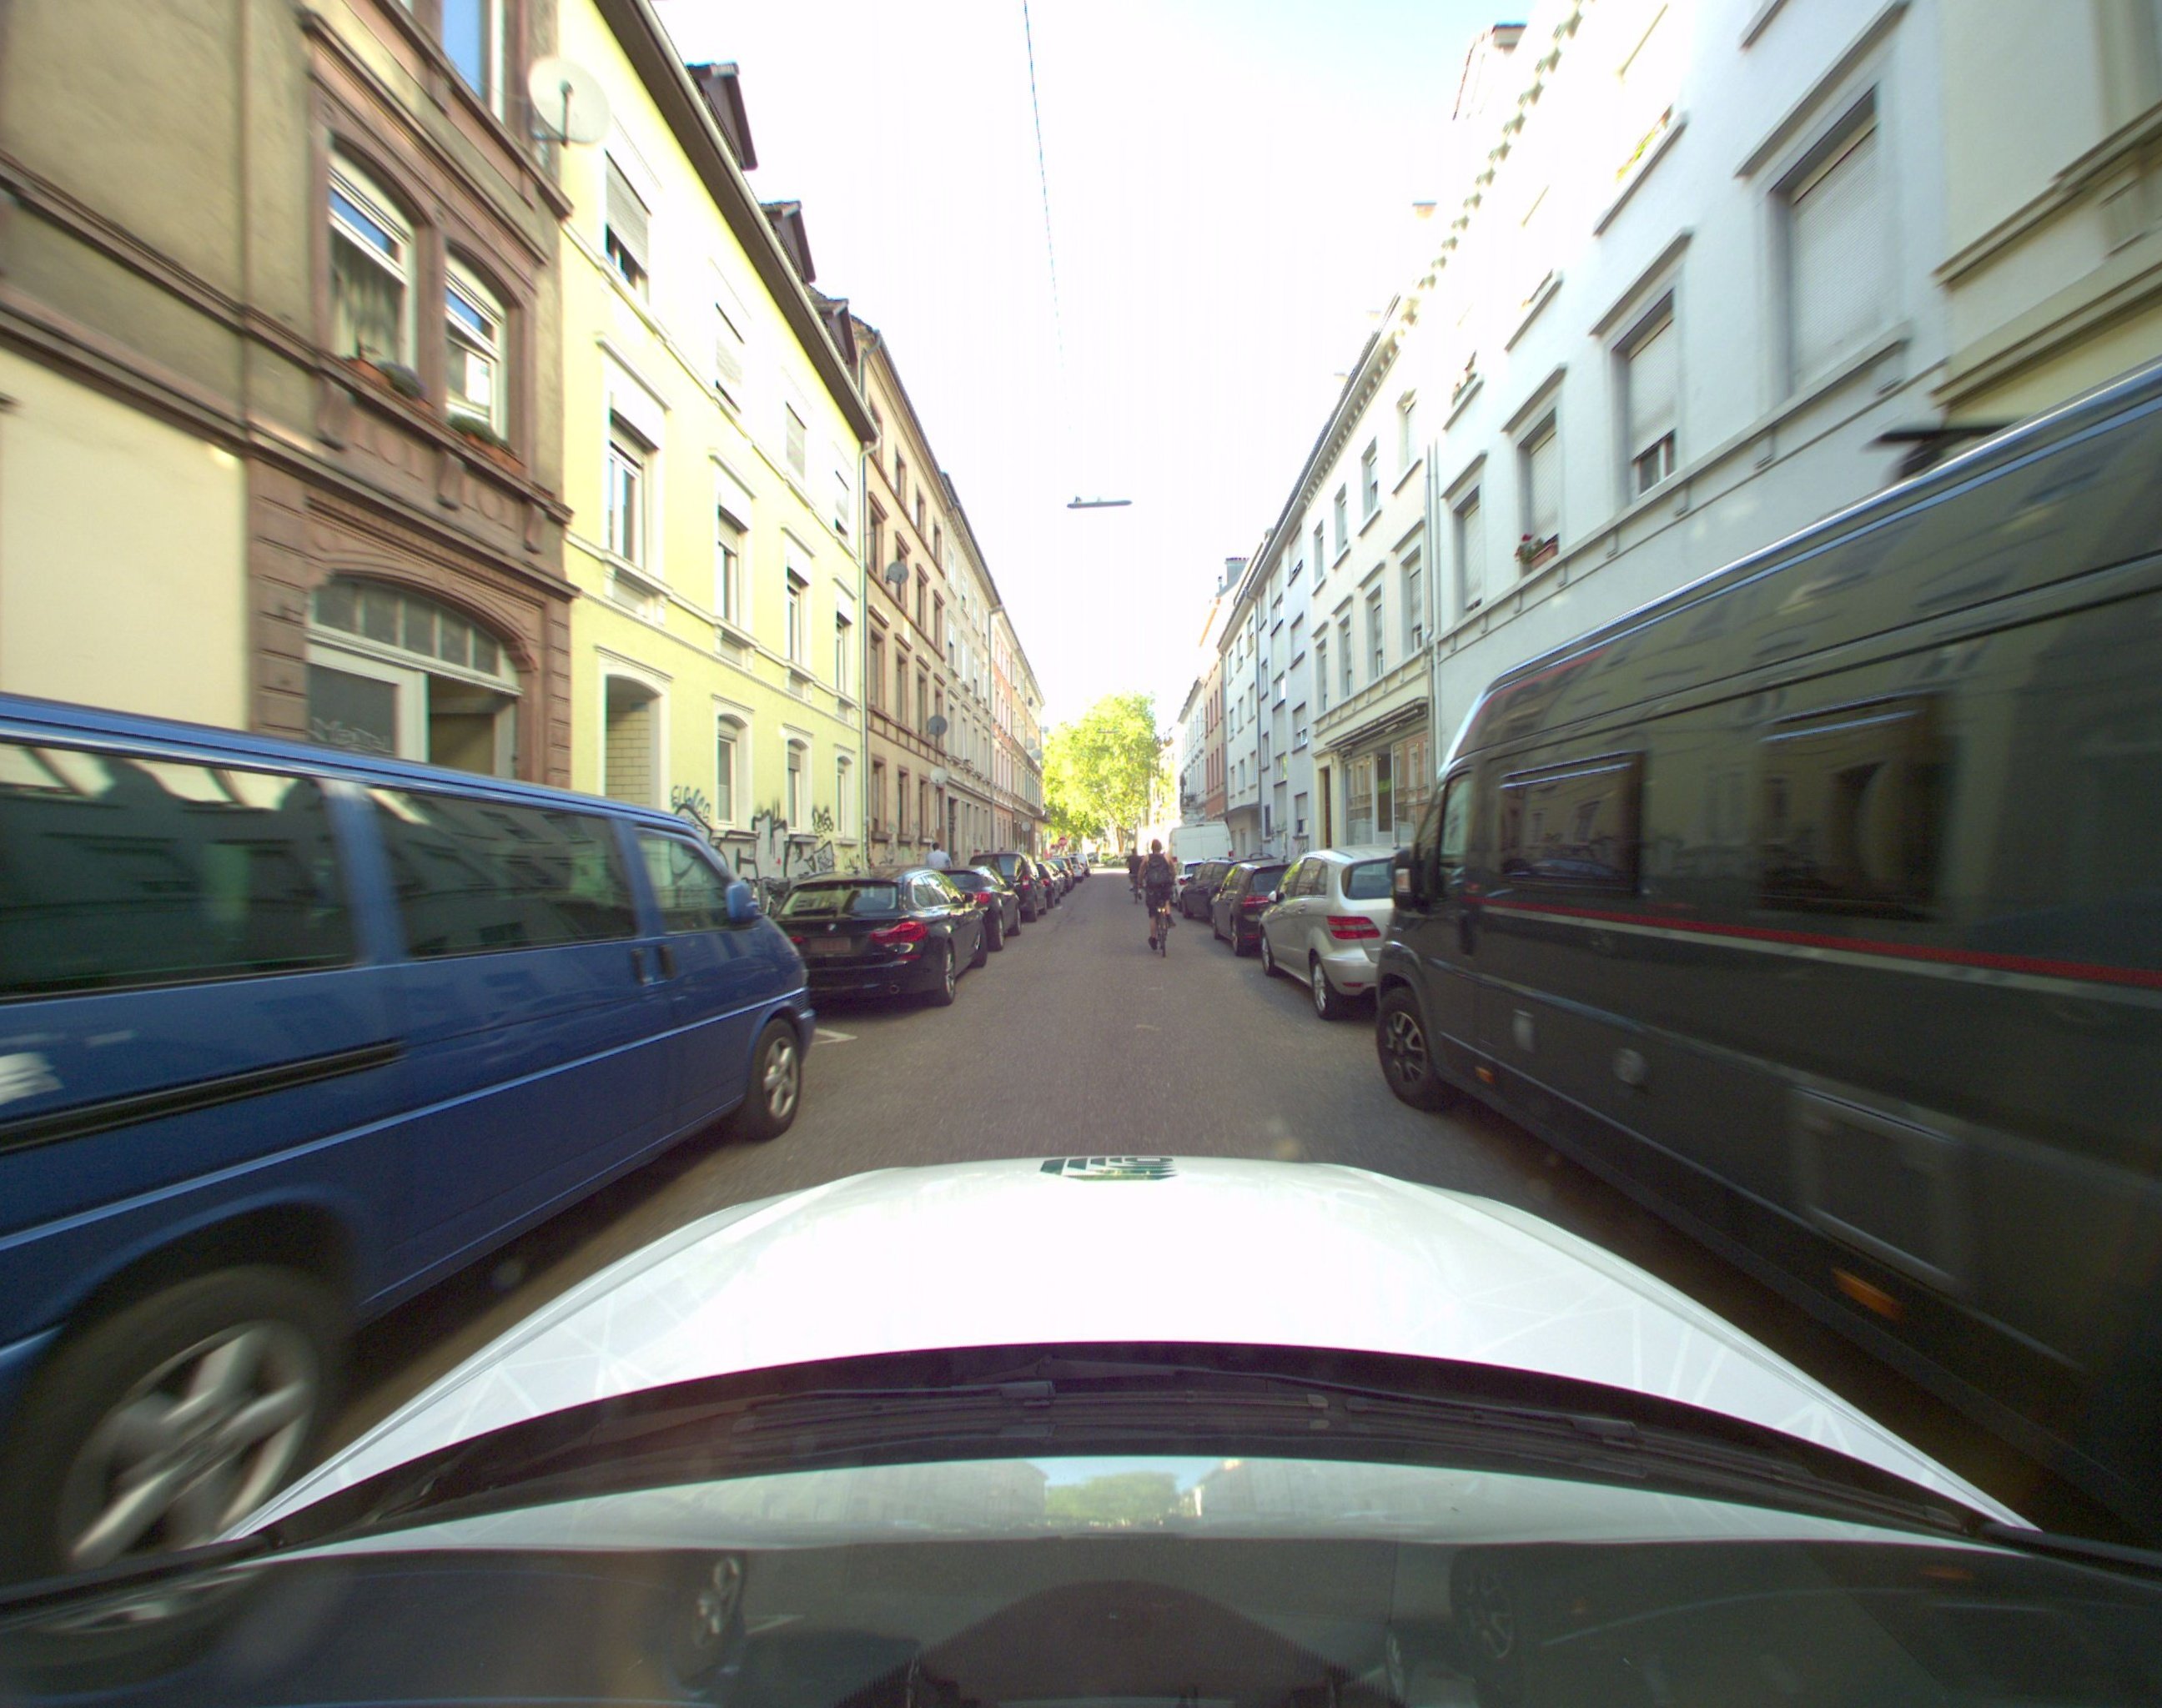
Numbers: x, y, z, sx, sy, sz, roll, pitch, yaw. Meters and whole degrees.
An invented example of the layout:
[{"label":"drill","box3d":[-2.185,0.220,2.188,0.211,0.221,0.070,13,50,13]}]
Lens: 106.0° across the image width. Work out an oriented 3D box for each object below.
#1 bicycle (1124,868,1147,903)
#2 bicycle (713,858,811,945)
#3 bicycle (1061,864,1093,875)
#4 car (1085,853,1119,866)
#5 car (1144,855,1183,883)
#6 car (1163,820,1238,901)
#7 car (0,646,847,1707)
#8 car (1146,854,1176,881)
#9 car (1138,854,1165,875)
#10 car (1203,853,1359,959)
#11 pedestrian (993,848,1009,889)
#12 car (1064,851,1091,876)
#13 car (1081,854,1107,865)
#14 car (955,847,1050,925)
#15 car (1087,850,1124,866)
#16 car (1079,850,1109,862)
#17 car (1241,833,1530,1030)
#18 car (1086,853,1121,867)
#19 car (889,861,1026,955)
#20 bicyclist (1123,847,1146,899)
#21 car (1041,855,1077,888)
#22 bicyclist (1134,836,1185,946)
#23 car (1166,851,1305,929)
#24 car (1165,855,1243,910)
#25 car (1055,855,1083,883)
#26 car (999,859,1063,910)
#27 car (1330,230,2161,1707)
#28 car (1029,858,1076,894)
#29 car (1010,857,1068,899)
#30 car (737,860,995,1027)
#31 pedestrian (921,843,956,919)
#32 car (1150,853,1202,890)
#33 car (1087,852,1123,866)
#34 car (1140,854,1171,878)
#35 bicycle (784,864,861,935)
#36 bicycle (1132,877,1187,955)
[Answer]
[{"label":"bicycle","box3d":[1.751,1.000,26.542,0.661,1.037,1.960,-2,0,2]},{"label":"bicycle","box3d":[-5.095,0.716,13.153,0.671,1.271,2.087,-1,0,2]},{"label":"bicycle","box3d":[-0.342,1.355,70.109,2.707,0.892,0.618,-2,0,-1]},{"label":"car","box3d":[2.887,0.721,111.364,4.458,1.696,1.865,-2,0,-3]},{"label":"car","box3d":[4.349,0.775,43.466,1.652,1.338,4.000,-2,0,0]},{"label":"car","box3d":[4.145,0.212,29.226,2.194,2.551,6.043,-2,0,4]},{"label":"car","box3d":[-2.664,0.639,3.285,1.820,1.892,4.616,-4,0,2]},{"label":"car","box3d":[4.723,0.759,48.552,1.586,1.492,3.878,-2,0,3]},{"label":"car","box3d":[5.263,0.772,61.113,1.646,1.530,3.574,-2,0,0]},{"label":"car","box3d":[3.221,0.754,13.957,1.739,1.485,4.245,-2,0,2]},{"label":"pedestrian","box3d":[-3.629,0.661,37.182,0.608,1.858,0.754,1,0,1]},{"label":"car","box3d":[-0.212,0.708,60.535,1.781,1.737,3.877,-2,0,2]},{"label":"car","box3d":[2.219,0.932,140.673,4.458,1.696,1.865,-2,0,-3]},{"label":"car","box3d":[-1.909,0.753,20.995,1.794,1.698,4.002,-4,0,2]},{"label":"car","box3d":[2.997,0.459,99.803,4.458,1.759,1.865,-2,0,-3]},{"label":"car","box3d":[1.915,0.322,124.740,4.458,1.696,1.865,-2,0,-3]},{"label":"car","box3d":[3.055,0.672,9.207,1.687,1.608,4.376,-3,0,2]},{"label":"car","box3d":[3.000,0.776,108.434,4.458,1.696,1.865,-2,0,-3]},{"label":"car","box3d":[-2.116,0.883,15.035,1.730,1.427,4.002,-2,0,2]},{"label":"bicyclist","box3d":[1.741,0.599,26.430,0.667,1.658,0.877,-2,0,2]},{"label":"car","box3d":[-1.065,0.858,40.963,1.599,1.530,3.379,-3,0,0]},{"label":"bicyclist","box3d":[1.225,0.563,12.928,0.737,1.679,1.117,0,0,2]},{"label":"car","box3d":[3.443,0.737,19.149,1.810,1.478,4.596,-4,1,-7]},{"label":"car","box3d":[3.496,0.761,23.794,1.719,1.429,3.833,-2,0,1]},{"label":"car","box3d":[-0.701,0.841,48.335,1.540,1.550,3.463,-2,0,-1]},{"label":"car","box3d":[-1.517,0.914,25.966,1.585,1.440,3.656,-2,0,3]},{"label":"car","box3d":[2.815,0.219,2.639,2.167,2.425,6.312,-3,0,2]},{"label":"car","box3d":[-1.203,0.910,36.002,1.699,1.414,4.304,-2,0,2]},{"label":"car","box3d":[-1.520,0.868,30.947,1.666,1.430,3.893,-2,0,4]},{"label":"car","box3d":[-2.264,0.853,9.973,1.856,1.440,4.645,-2,0,0]},{"label":"pedestrian","box3d":[-3.476,0.642,19.885,0.648,1.817,0.754,1,0,2]},{"label":"car","box3d":[4.114,0.737,35.760,1.726,1.470,4.020,-2,0,0]},{"label":"car","box3d":[3.063,0.634,104.928,4.458,1.696,1.865,-2,0,-3]},{"label":"car","box3d":[4.905,0.781,54.009,1.704,1.470,4.000,-2,0,0]},{"label":"bicycle","box3d":[-4.990,0.835,15.882,0.665,1.245,2.328,2,0,2]},{"label":"bicycle","box3d":[1.226,0.944,13.046,0.737,1.100,2.043,0,0,2]}]
